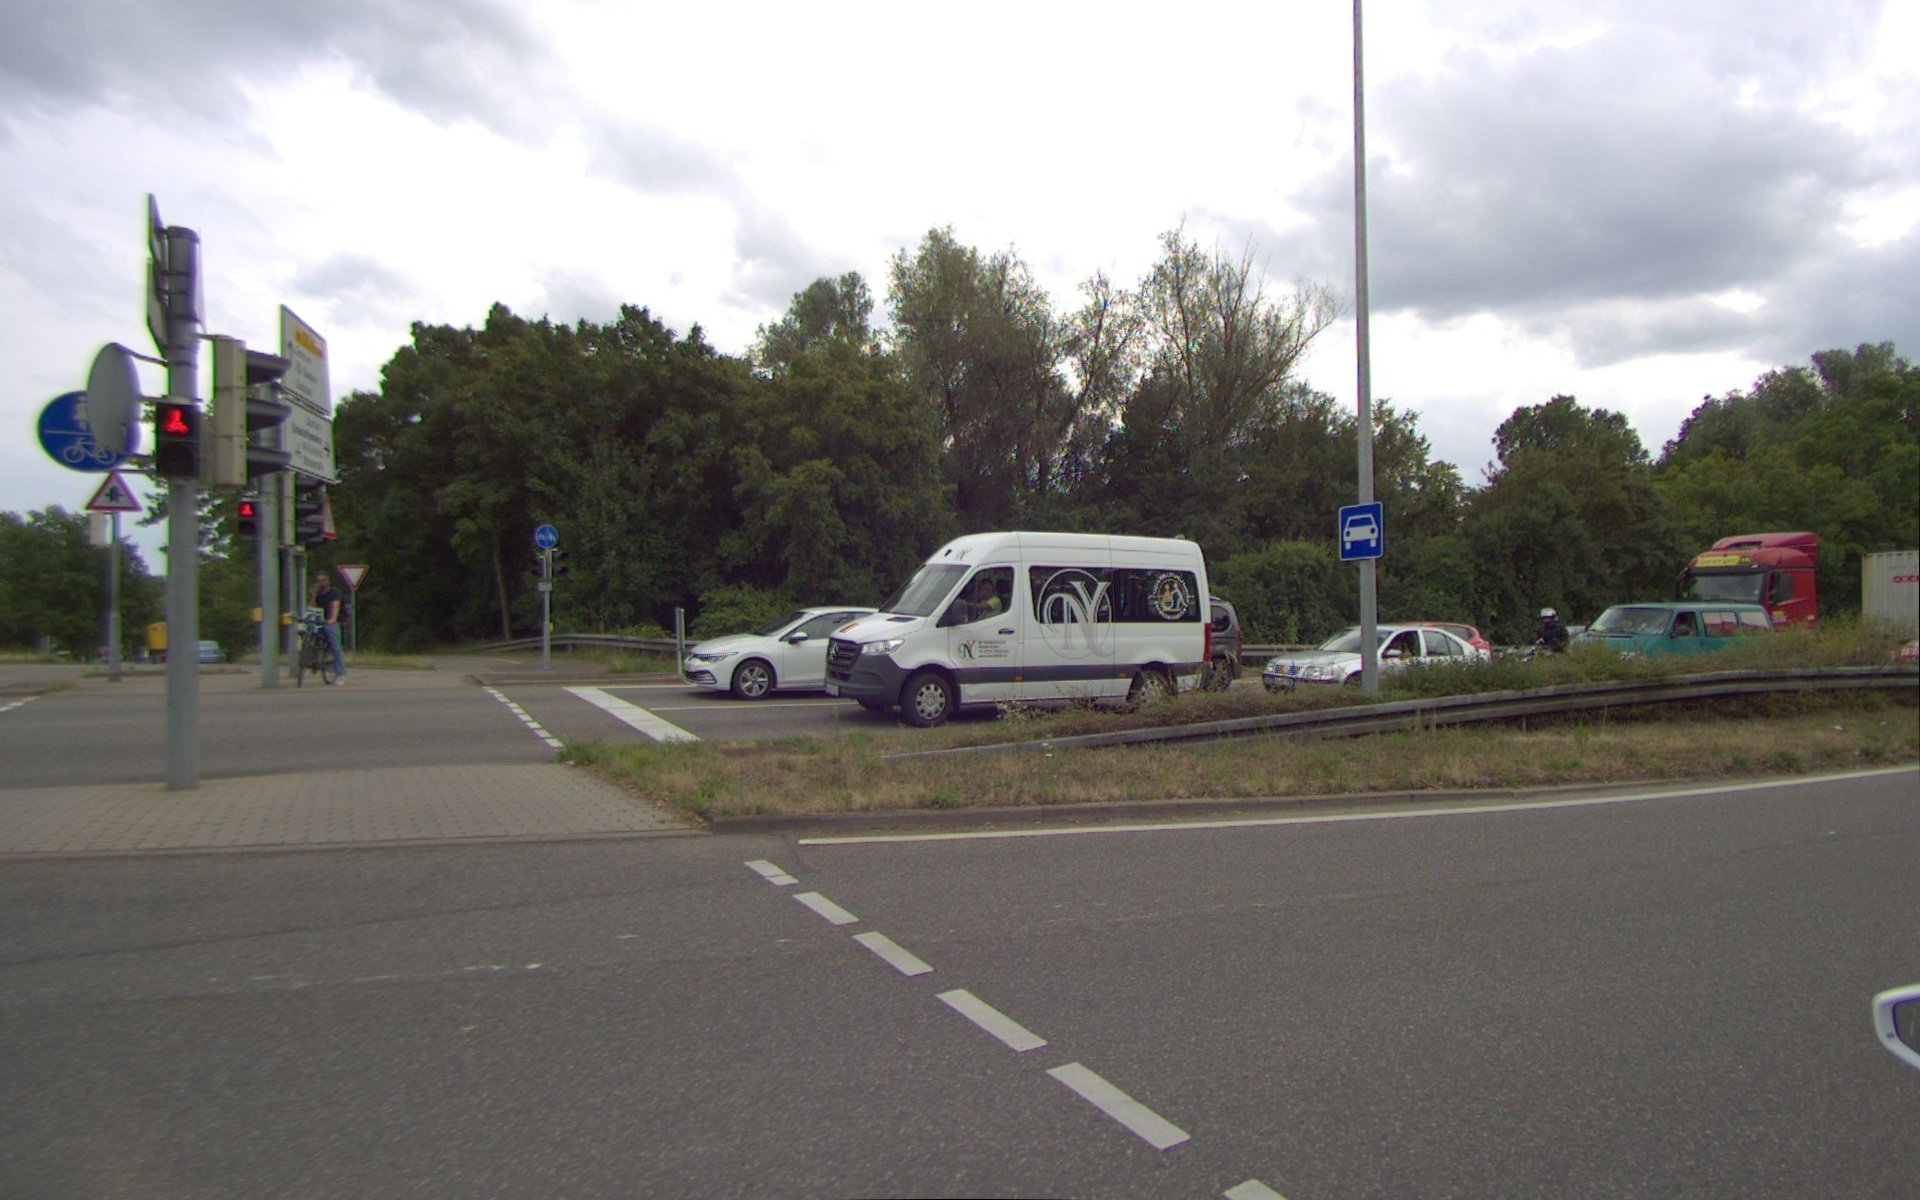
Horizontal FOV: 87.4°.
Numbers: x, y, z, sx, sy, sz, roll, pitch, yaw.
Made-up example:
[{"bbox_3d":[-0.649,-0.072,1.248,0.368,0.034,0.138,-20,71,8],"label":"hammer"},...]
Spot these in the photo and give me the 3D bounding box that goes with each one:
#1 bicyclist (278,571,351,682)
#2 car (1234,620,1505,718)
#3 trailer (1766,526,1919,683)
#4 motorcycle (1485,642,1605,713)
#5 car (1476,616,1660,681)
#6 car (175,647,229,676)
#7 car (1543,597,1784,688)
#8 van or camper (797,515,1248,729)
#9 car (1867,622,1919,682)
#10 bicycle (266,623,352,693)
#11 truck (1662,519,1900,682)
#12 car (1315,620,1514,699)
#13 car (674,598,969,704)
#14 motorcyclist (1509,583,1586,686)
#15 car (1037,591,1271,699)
[{"bbox_3d":[-10.506,0.445,16.373,0.788,1.757,0.742,1,-2,-19],"label":"bicyclist"},{"bbox_3d":[7.148,1.149,17.527,4.341,1.518,1.987,2,-1,-26],"label":"car"},{"bbox_3d":[28.868,0.273,29.854,10.607,4.202,2.532,2,-1,-20],"label":"trailer"},{"bbox_3d":[10.871,1.411,18.640,2.296,1.241,0.796,2,-1,-27],"label":"motorcycle"},{"bbox_3d":[14.909,1.180,24.623,4.219,1.485,1.799,2,-1,-24],"label":"car"},{"bbox_3d":[-41.496,3.379,55.047,1.872,1.475,3.969,2,-5,-31],"label":"car"},{"bbox_3d":[14.763,0.893,21.067,4.889,1.752,1.800,2,-1,-22],"label":"car"},{"bbox_3d":[1.028,0.368,14.771,6.412,2.623,2.153,2,-1,-27],"label":"van or camper"},{"bbox_3d":[25.149,1.321,25.300,4.064,1.451,1.801,2,-1,-21],"label":"car"},{"bbox_3d":[-10.522,0.943,16.297,0.697,1.066,1.937,1,-3,-19],"label":"bicycle"},{"bbox_3d":[22.500,0.105,27.560,5.536,4.137,2.565,1,-1,-20],"label":"truck"},{"bbox_3d":[10.264,1.304,22.699,3.944,1.635,1.989,2,-1,-24],"label":"car"},{"bbox_3d":[-2.295,0.829,16.717,4.478,1.567,1.987,2,-1,-26],"label":"car"},{"bbox_3d":[10.889,0.643,18.636,0.913,1.847,0.862,1,-1,-26],"label":"motorcyclist"},{"bbox_3d":[3.791,0.876,19.680,4.109,1.927,1.988,2,-1,-24],"label":"car"}]
